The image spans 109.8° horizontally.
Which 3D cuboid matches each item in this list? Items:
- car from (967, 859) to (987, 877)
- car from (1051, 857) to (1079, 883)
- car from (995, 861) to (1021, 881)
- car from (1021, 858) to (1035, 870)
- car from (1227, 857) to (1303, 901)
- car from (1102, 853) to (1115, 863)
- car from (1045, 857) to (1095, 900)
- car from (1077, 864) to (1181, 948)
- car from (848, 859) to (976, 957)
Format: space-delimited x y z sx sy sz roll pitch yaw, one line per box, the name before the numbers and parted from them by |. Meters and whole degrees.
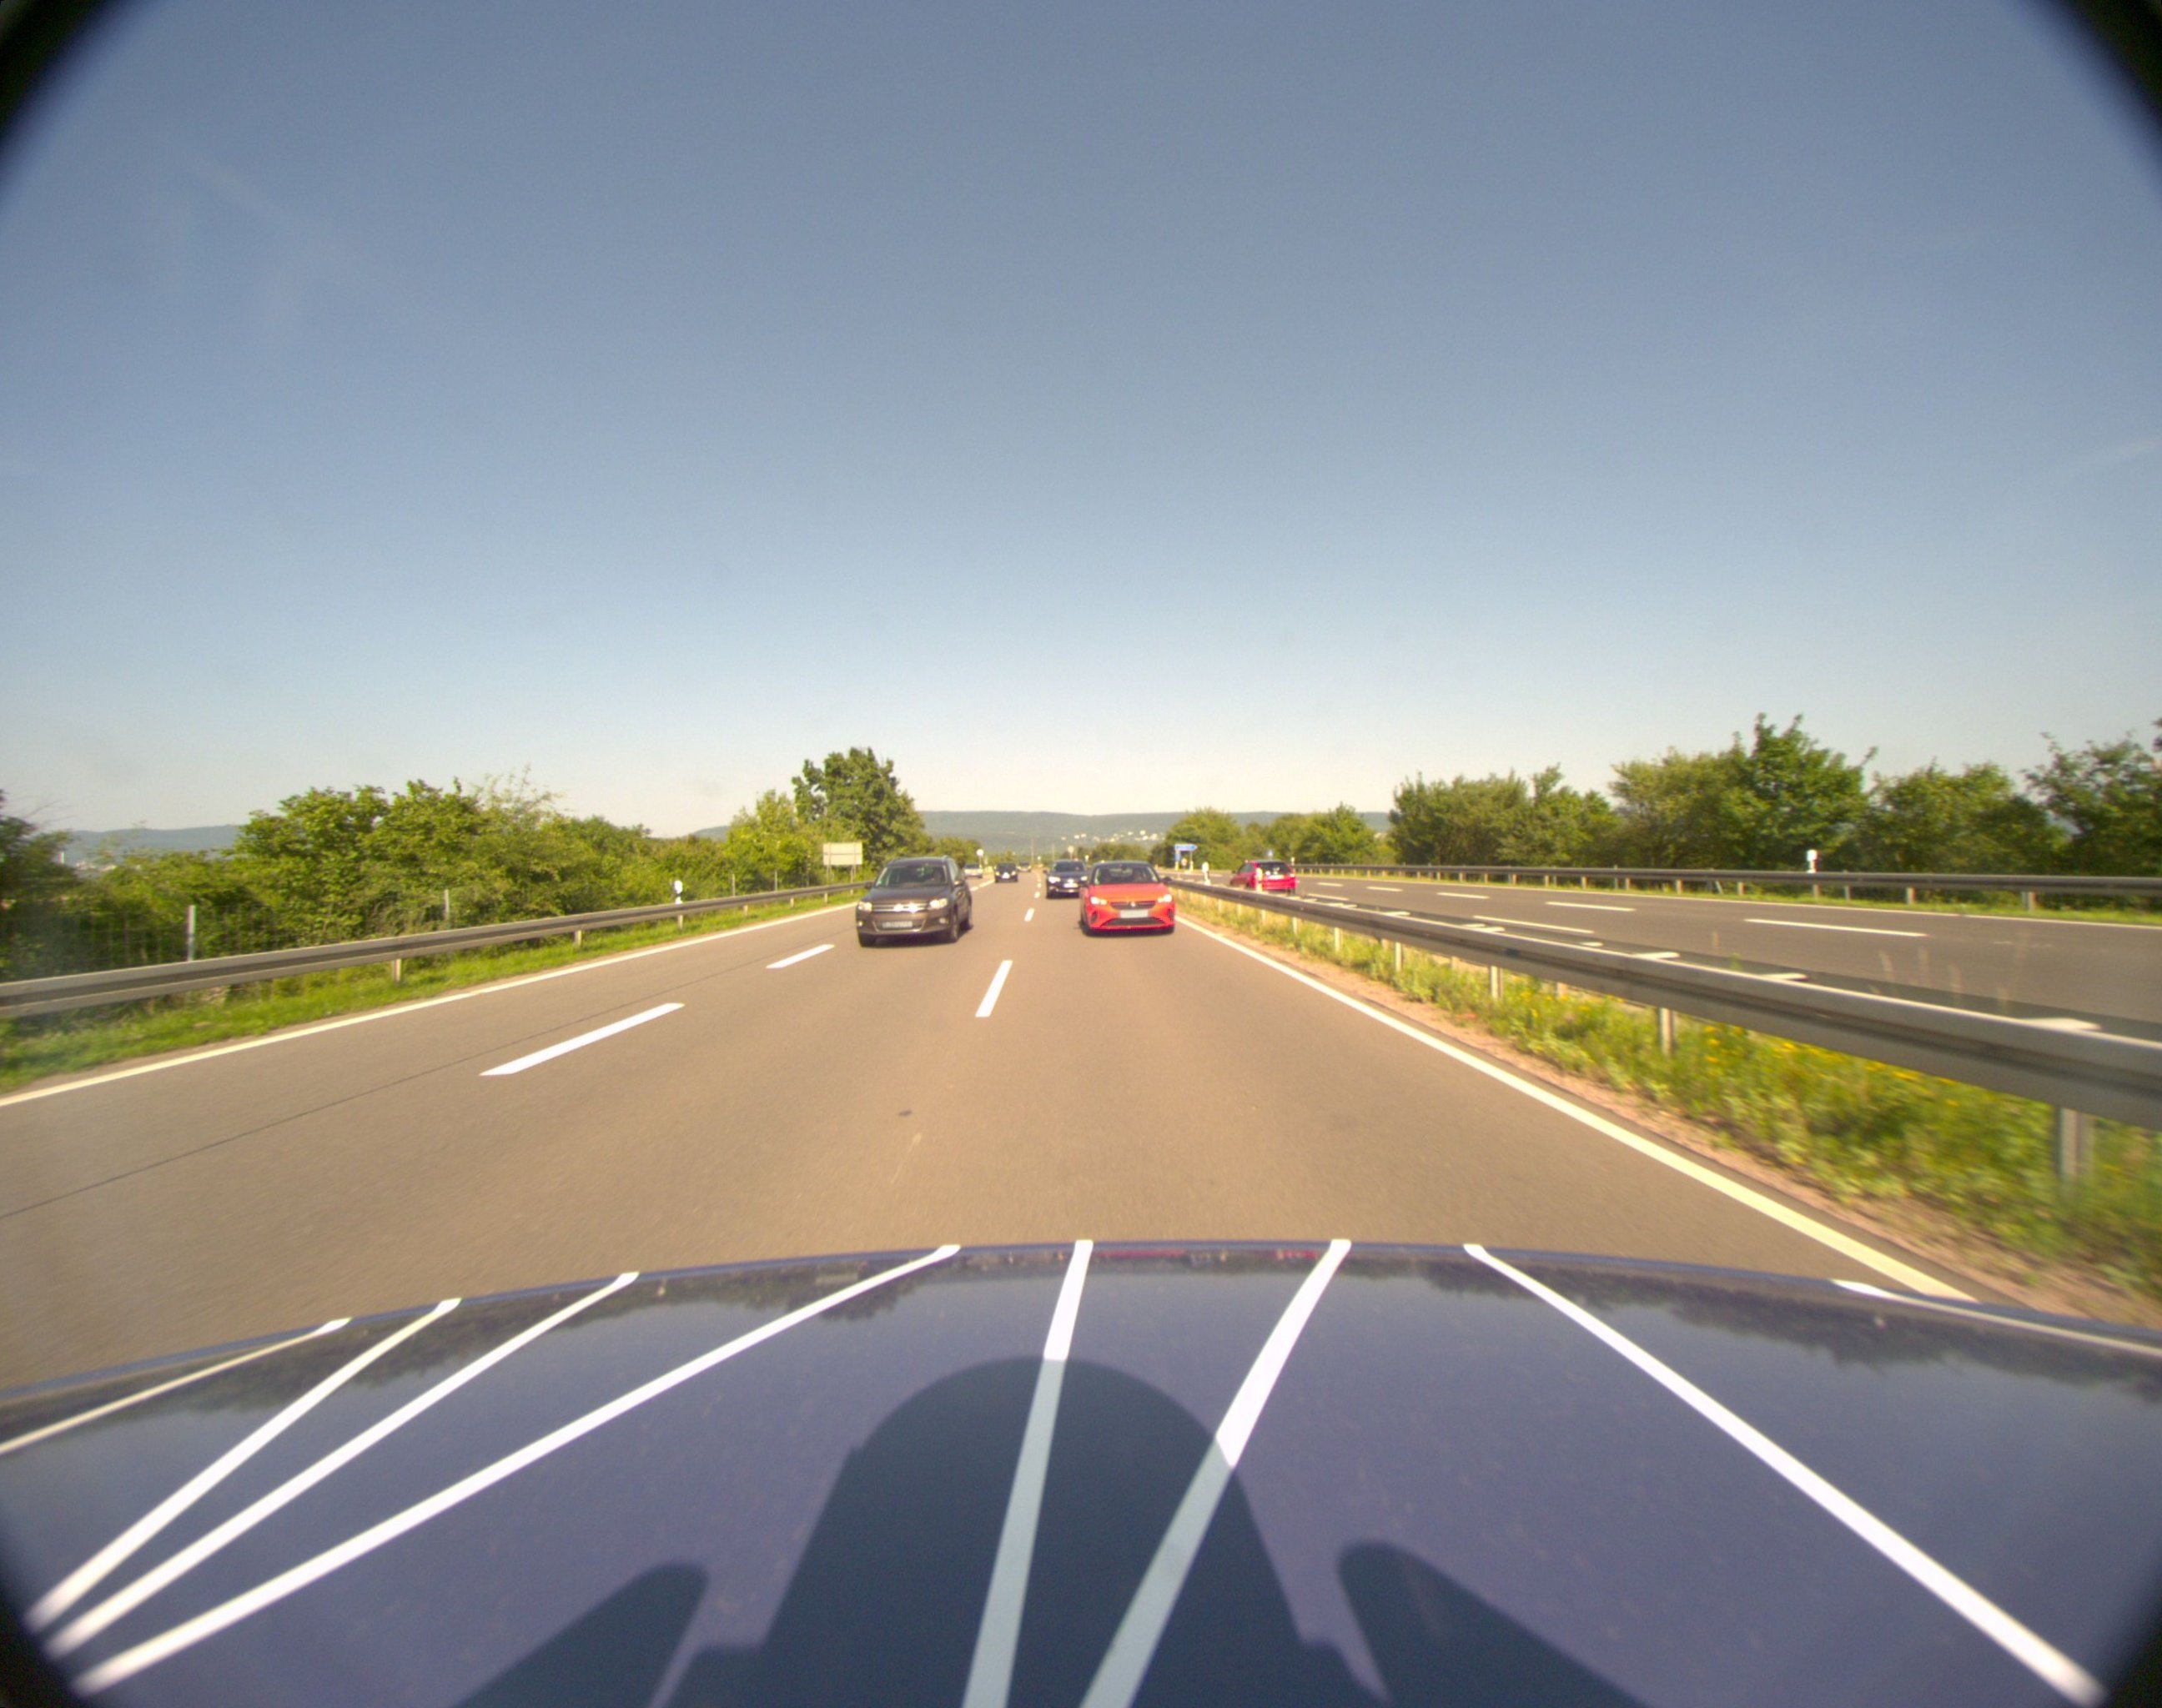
car | -10.436 1.351 75.957 1.865 1.656 3.997 -3 0 -9
car | -1.005 0.999 47.893 1.652 1.403 3.774 -2 1 -1
car | -5.192 1.177 54.306 1.601 1.241 3.999 -3 0 -3
car | -7.544 1.404 107.548 1.769 1.652 3.998 -3 0 -6
car | 7.000 0.909 29.398 1.715 1.477 4.264 -3 0 -2
car | 4.662 0.697 129.869 1.647 1.565 4.262 -3 0 -4
car | -0.448 0.931 30.429 1.788 1.524 4.375 -2 -1 -1
car | 0.874 0.973 16.039 1.714 1.428 4.411 -2 0 -2
car | -3.279 0.974 15.574 1.790 1.637 4.147 -2 0 -2
